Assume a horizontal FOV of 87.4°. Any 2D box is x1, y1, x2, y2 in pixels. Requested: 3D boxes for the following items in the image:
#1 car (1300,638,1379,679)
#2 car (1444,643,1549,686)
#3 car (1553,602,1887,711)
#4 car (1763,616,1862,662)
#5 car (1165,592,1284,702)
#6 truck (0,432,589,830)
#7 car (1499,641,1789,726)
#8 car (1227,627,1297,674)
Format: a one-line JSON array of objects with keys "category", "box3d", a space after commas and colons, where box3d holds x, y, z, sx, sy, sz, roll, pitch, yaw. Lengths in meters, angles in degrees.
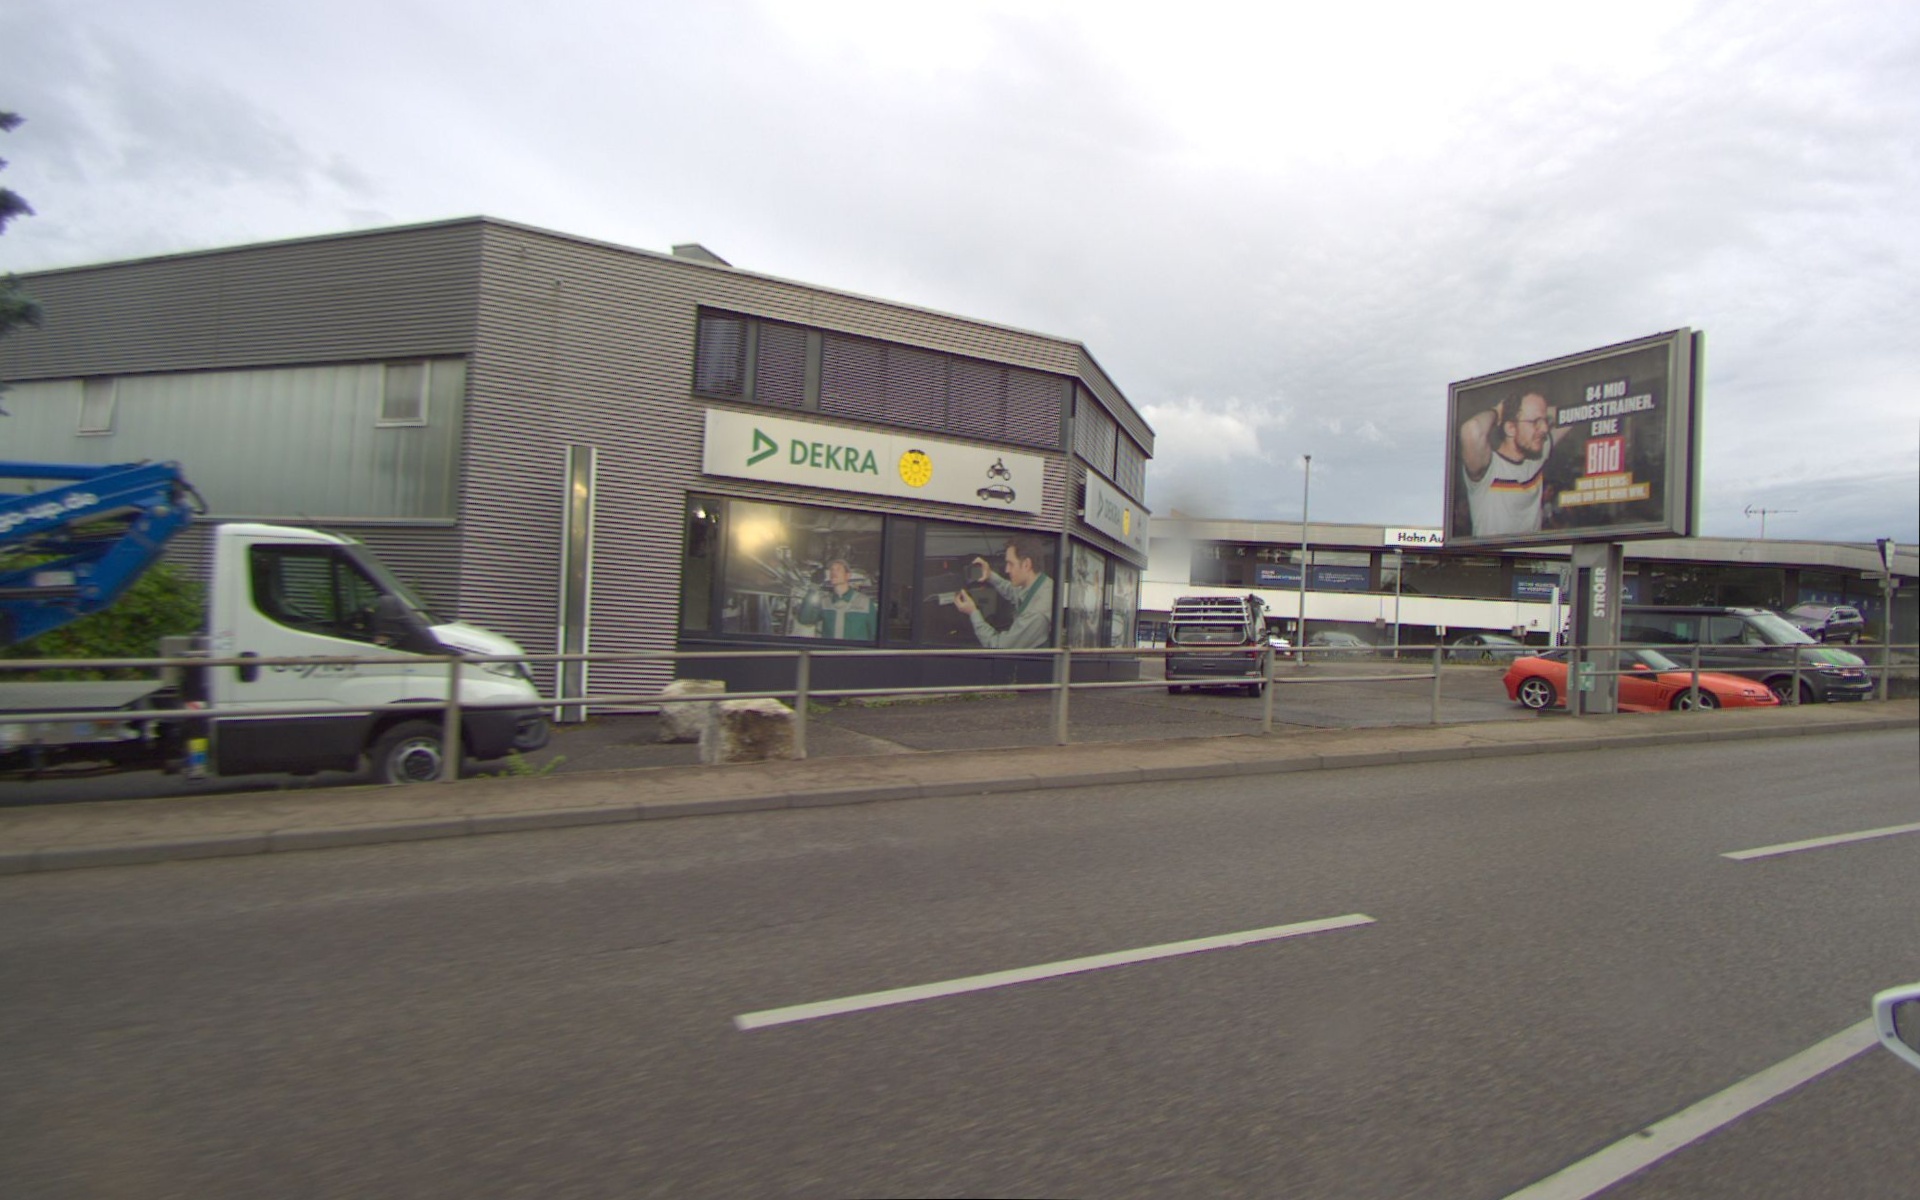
[{"category": "car", "box3d": [15.199, 2.307, 40.444, 1.744, 1.447, 3.992, 1, -1, 1]}, {"category": "car", "box3d": [20.367, 2.418, 38.317, 1.852, 1.447, 4.106, 1, -1, 1]}, {"category": "car", "box3d": [14.888, 1.033, 20.039, 1.803, 1.895, 5.039, 2, -2, -32]}, {"category": "car", "box3d": [35.728, 1.632, 42.092, 4.190, 1.824, 1.396, 2, -2, -22]}, {"category": "car", "box3d": [5.784, 0.949, 21.544, 1.961, 2.013, 4.877, 1, -1, 20]}, {"category": "truck", "box3d": [-7.023, 0.224, 7.540, 7.792, 2.667, 1.986, 0, -1, -28]}, {"category": "car", "box3d": [12.372, 1.438, 18.391, 1.753, 1.284, 4.063, 2, -2, -36]}, {"category": "car", "box3d": [12.553, 2.069, 41.978, 1.784, 1.812, 3.992, 1, -1, 1]}]
